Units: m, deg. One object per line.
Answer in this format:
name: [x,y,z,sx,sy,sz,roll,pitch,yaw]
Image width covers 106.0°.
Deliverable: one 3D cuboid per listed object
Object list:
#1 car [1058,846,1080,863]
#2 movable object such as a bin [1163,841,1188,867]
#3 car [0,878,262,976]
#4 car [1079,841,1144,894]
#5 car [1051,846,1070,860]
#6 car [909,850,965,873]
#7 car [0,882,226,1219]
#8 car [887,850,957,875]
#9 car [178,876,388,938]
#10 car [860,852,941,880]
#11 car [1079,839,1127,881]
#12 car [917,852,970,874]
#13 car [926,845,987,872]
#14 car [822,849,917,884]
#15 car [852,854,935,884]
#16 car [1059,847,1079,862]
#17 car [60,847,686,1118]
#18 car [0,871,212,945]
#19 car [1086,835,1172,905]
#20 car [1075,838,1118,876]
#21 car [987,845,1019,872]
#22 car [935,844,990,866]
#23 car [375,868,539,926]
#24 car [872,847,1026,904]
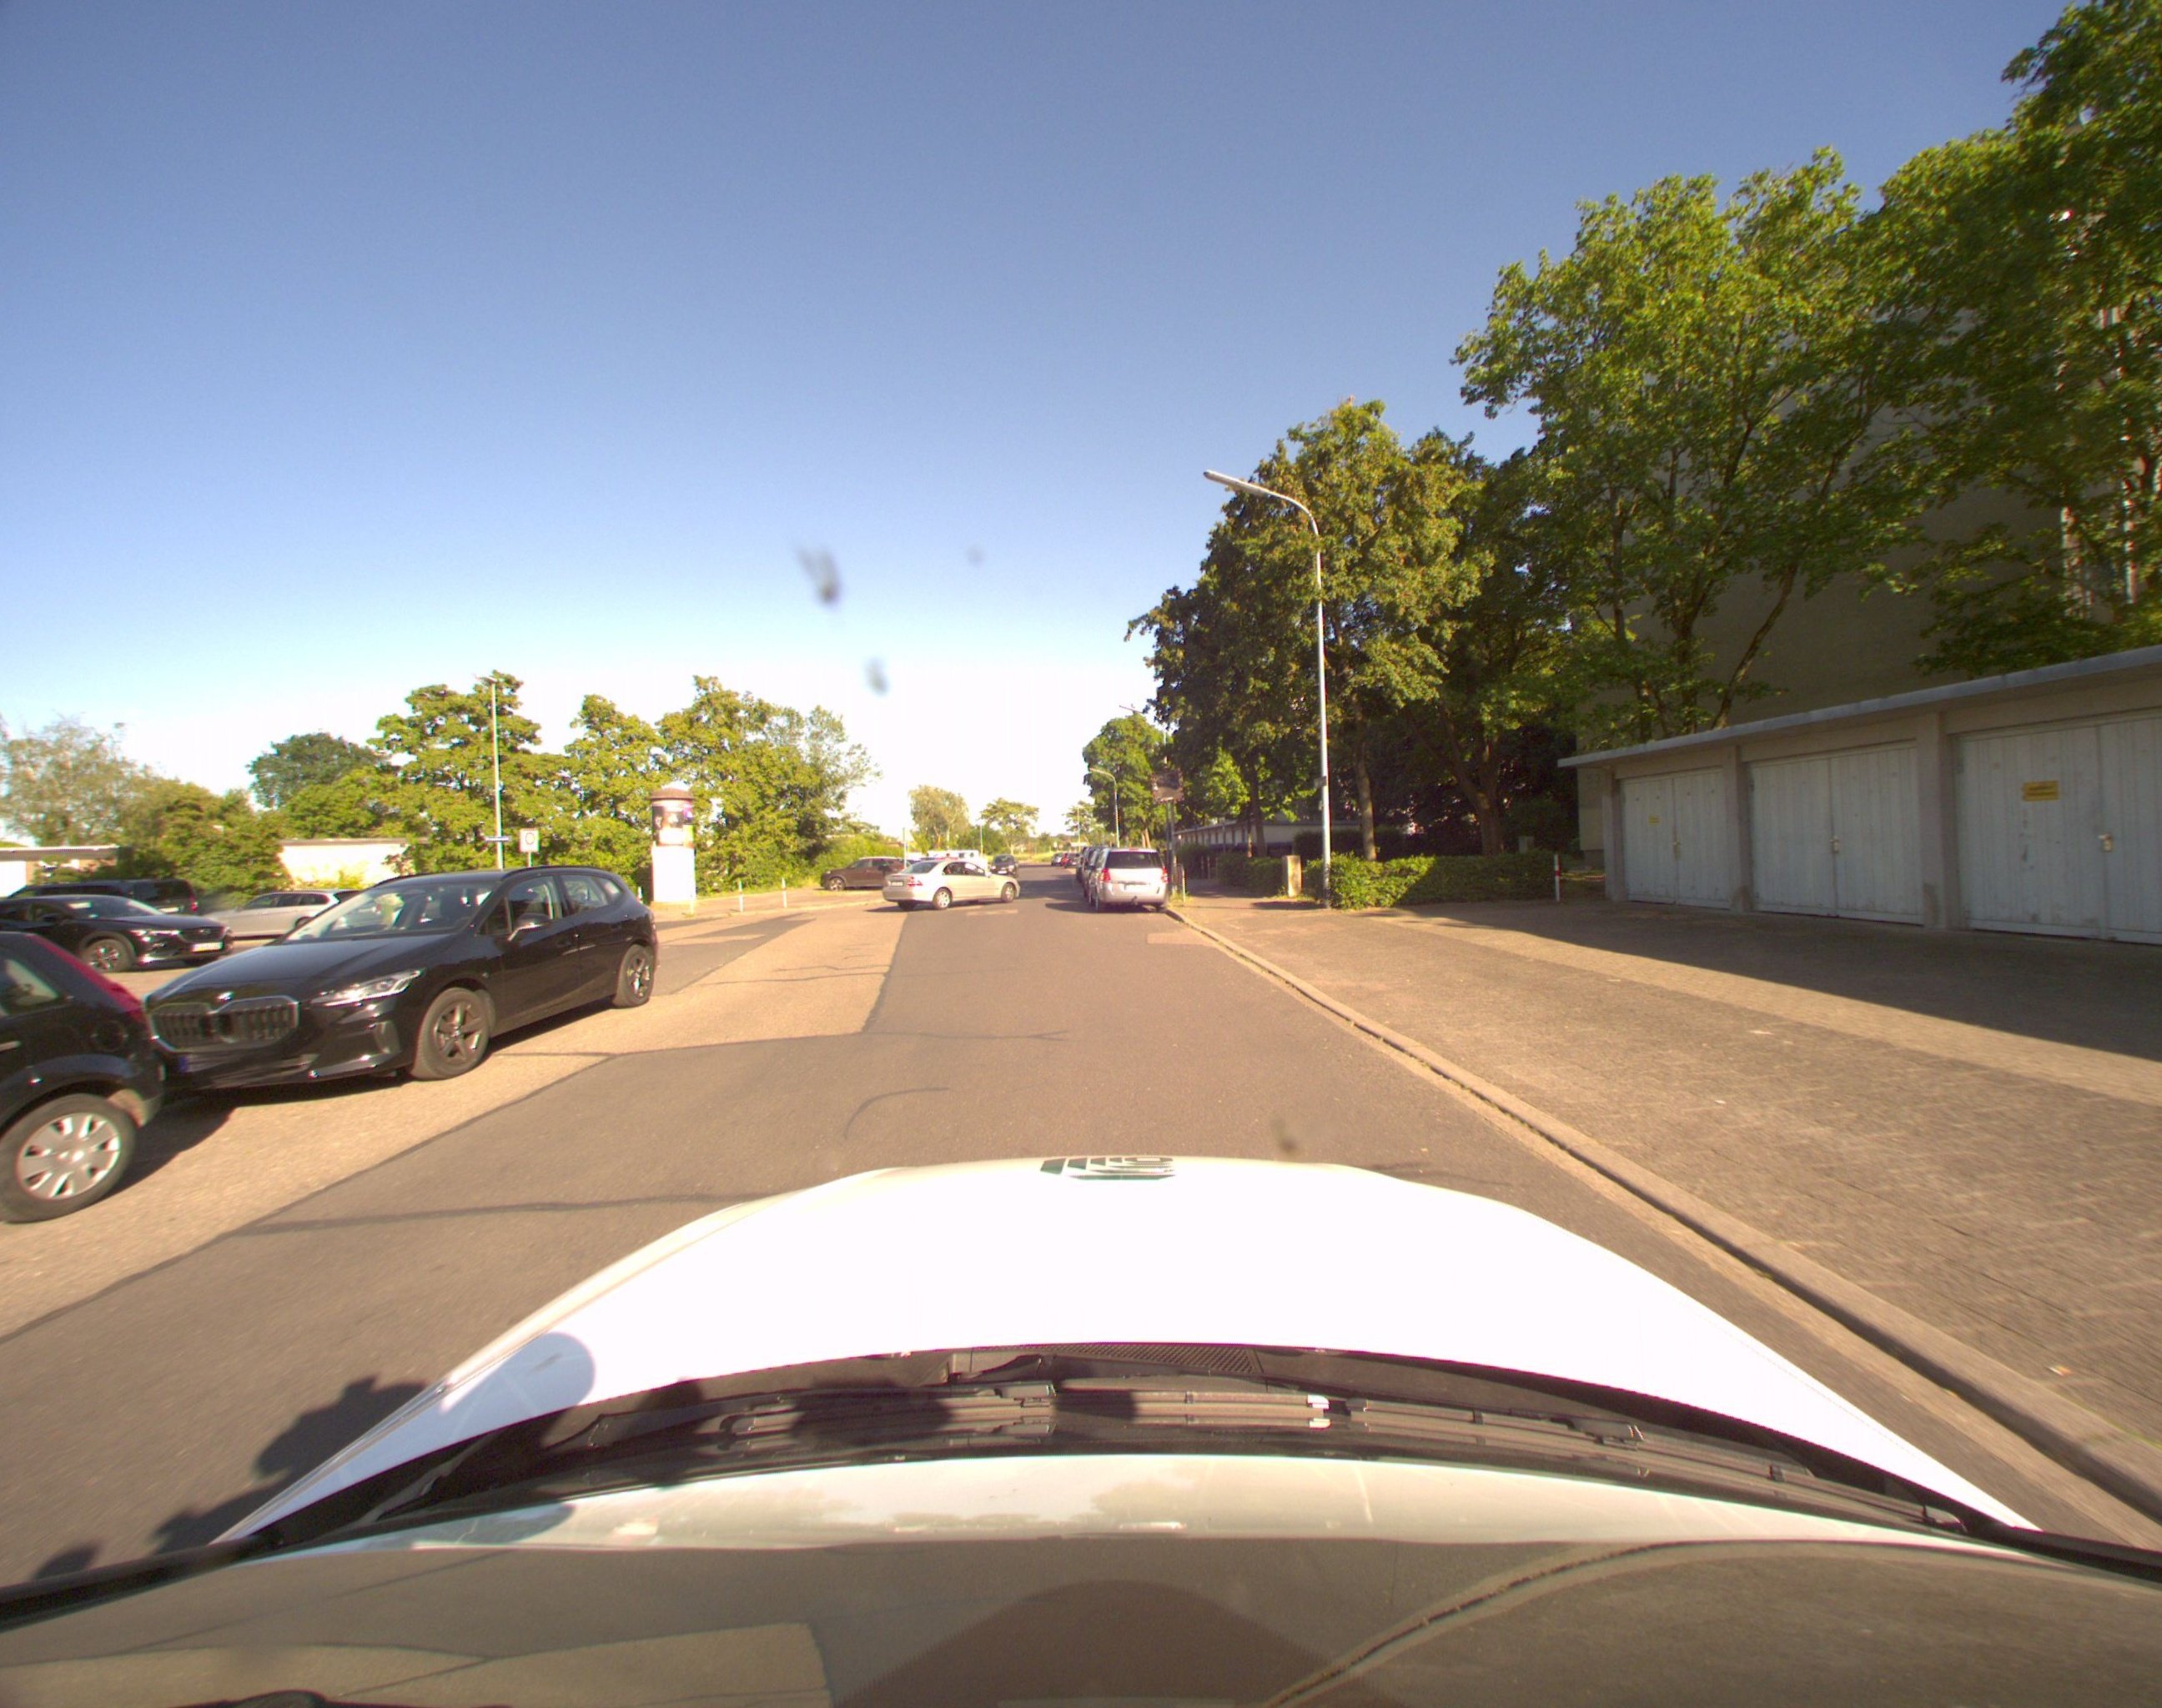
car: [-1.146,0.069,76.067,1.645,1.403,3.875,-3,0,-5]
movable object such as a bin: [5.124,0.027,44.306,1.242,1.347,1.056,-2,-1,9]
car: [-18.745,1.384,15.696,3.907,1.543,1.744,-4,0,-4]
car: [0.923,0.392,26.545,1.800,1.594,4.020,0,0,-2]
car: [-2.422,-0.073,93.416,1.730,1.543,3.778,-2,0,-8]
car: [-10.074,0.532,57.271,3.593,1.567,1.880,0,1,-2]
car: [-5.577,0.961,2.669,1.619,1.436,3.651,-5,1,-2]
car: [-9.782,0.507,50.335,3.977,1.479,1.789,0,1,-2]
car: [-23.787,1.547,24.413,4.322,1.462,1.735,-4,0,-4]
car: [-9.887,0.645,44.773,4.084,1.512,1.810,0,-1,-4]
car: [0.915,0.208,36.749,1.829,1.791,4.551,0,1,-3]
car: [-10.055,0.633,59.777,3.593,1.567,1.851,0,1,-2]
car: [-9.564,0.353,62.917,4.469,1.977,1.998,0,-1,-4]
car: [-10.224,0.598,39.614,4.179,1.656,1.844,0,-1,-4]
car: [-9.762,0.781,42.575,3.979,1.532,1.829,0,-1,-4]
car: [-1.242,0.048,83.533,1.574,1.446,3.778,-2,0,-8]
car: [-5.582,0.798,7.418,1.775,1.573,4.421,-5,1,-2]
car: [-29.272,1.587,24.381,4.322,1.855,1.735,-4,0,-4]
car: [1.130,0.382,21.146,1.764,1.610,4.367,0,-1,-3]
car: [0.739,0.108,41.957,1.902,1.840,5.270,0,1,-2]
car: [-4.901,0.292,51.819,1.645,1.555,3.999,-4,0,-1]
car: [-10.809,0.084,74.555,4.782,1.921,2.077,0,-1,-6]
car: [-19.001,1.287,24.914,3.512,1.462,1.735,-4,0,-4]
car: [-3.859,0.576,24.355,1.799,1.463,4.388,-1,1,41]
